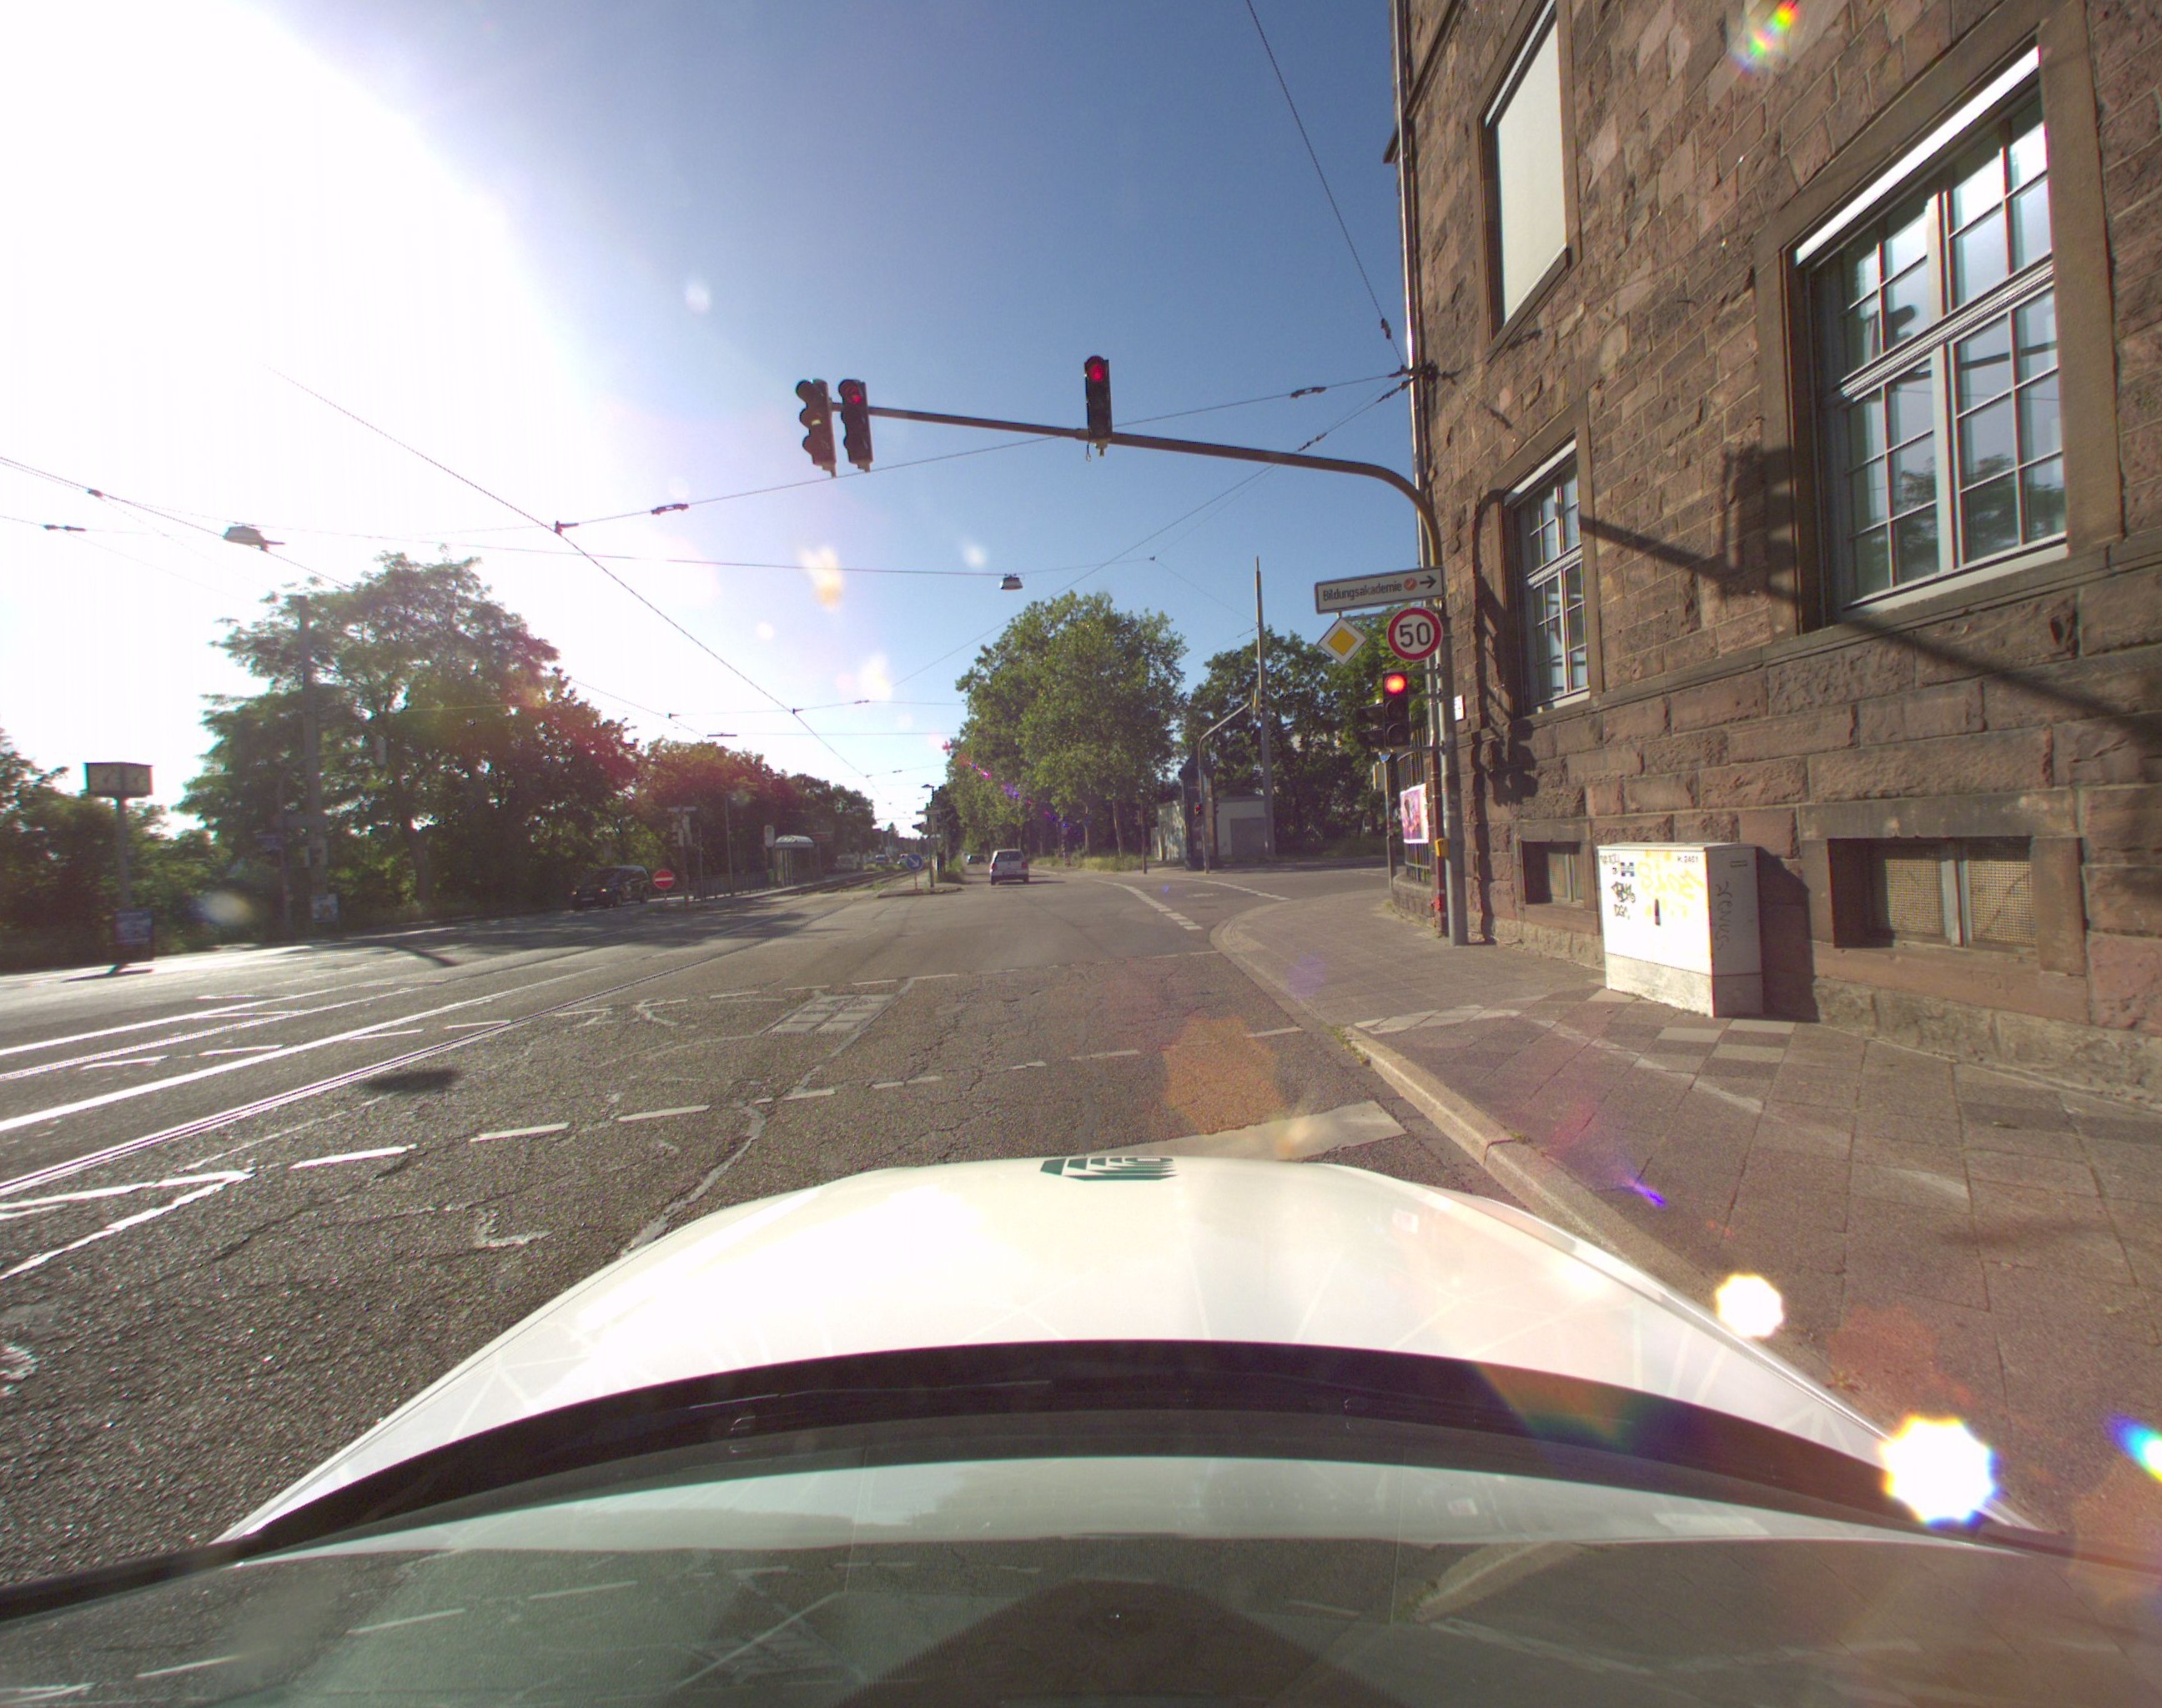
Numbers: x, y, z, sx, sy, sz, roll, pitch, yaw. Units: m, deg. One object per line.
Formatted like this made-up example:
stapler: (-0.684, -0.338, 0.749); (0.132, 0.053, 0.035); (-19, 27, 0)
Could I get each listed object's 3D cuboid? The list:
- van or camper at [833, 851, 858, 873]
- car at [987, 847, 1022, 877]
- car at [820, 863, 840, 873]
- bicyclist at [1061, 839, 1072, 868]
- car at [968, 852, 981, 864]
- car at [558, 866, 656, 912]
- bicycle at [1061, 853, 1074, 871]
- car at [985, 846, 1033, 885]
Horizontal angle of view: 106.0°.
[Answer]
van or camper: (-35.851, 1.252, 124.213); (2.589, 3.106, 6.768); (-4, 0, -9)
car: (-4.427, 0.453, 46.964); (1.750, 1.604, 3.739); (-2, 0, -9)
car: (-34.418, 1.919, 111.719); (1.919, 1.266, 3.991); (-4, 0, -7)
bicyclist: (-0.925, -0.030, 52.310); (0.534, 1.769, 0.710); (-4, 0, -11)
car: (-16.296, 0.587, 124.285); (1.750, 1.604, 3.569); (-4, 1, -9)
car: (-20.827, 1.465, 36.084); (1.994, 1.767, 5.014); (-4, 0, -9)
bicycle: (-0.872, 0.498, 52.231); (0.536, 1.066, 1.428); (-4, 0, -10)
car: (-3.060, 0.454, 34.586); (1.865, 1.486, 3.548); (-3, 0, -5)
